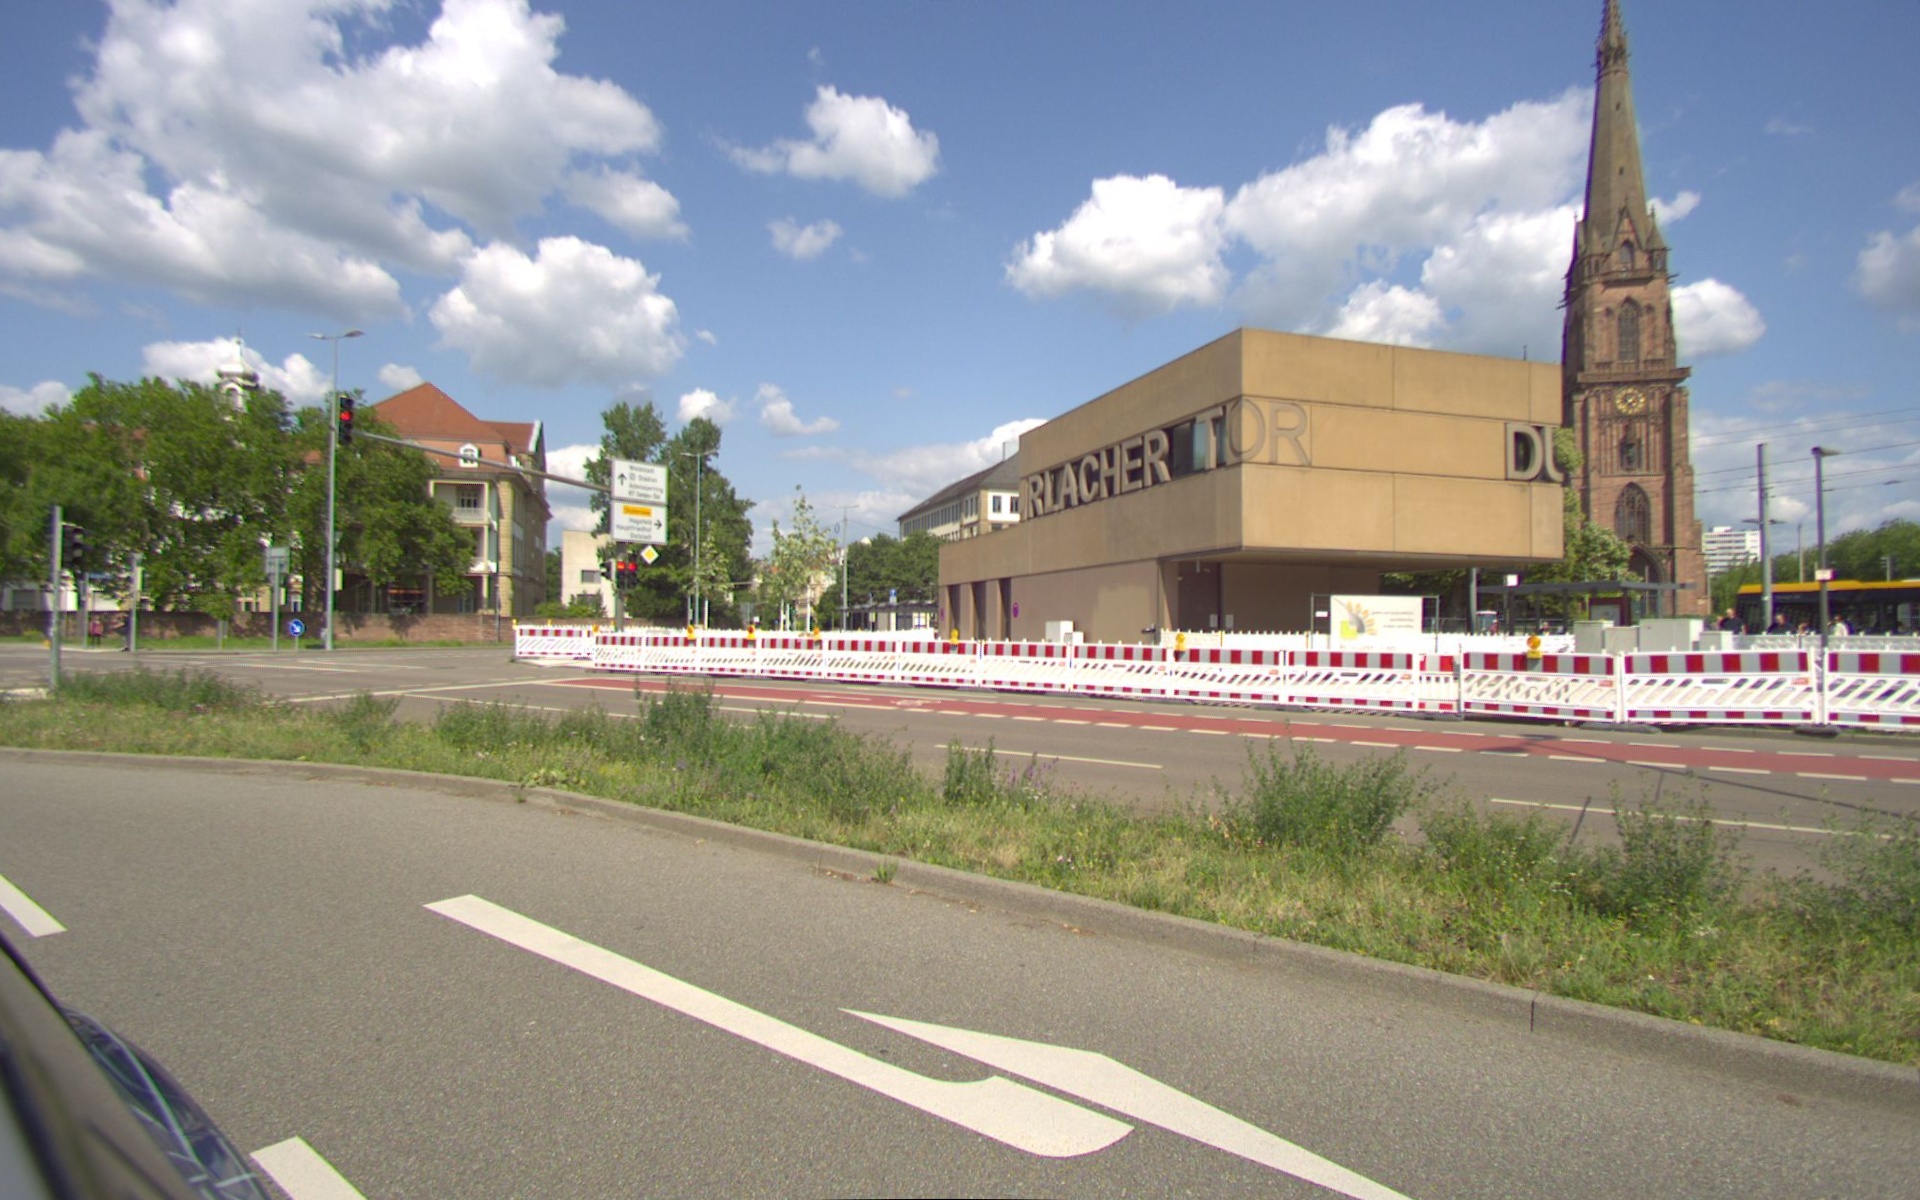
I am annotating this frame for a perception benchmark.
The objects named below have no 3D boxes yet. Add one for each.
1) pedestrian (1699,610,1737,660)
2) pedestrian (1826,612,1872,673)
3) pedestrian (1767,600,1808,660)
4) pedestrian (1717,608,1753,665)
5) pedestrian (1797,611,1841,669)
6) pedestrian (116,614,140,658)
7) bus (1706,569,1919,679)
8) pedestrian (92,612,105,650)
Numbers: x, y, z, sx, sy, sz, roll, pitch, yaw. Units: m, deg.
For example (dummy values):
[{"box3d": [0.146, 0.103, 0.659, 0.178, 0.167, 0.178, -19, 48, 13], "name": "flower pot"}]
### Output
[{"box3d": [25.082, 1.159, 33.476, 0.641, 1.644, 0.768, 1, -2, -23], "name": "pedestrian"}, {"box3d": [24.440, 1.156, 27.835, 0.752, 1.644, 0.655, 1, -2, -23], "name": "pedestrian"}, {"box3d": [22.969, 0.831, 28.103, 0.763, 1.644, 0.646, -1, -2, 30], "name": "pedestrian"}, {"box3d": [22.708, 1.065, 29.657, 0.720, 1.642, 0.561, 1, -2, -27], "name": "pedestrian"}, {"box3d": [24.787, 1.151, 29.203, 0.752, 1.644, 0.655, 1, -2, -22], "name": "pedestrian"}, {"box3d": [-38.366, 1.653, 46.672, 0.616, 2.009, 0.579, -1, 0, 13], "name": "pedestrian"}, {"box3d": [29.231, 0.695, 29.346, 2.785, 3.160, 12.880, 1, -2, -19], "name": "bus"}, {"box3d": [-40.083, 1.439, 47.089, 0.450, 1.745, 0.365, -1, 0, 37], "name": "pedestrian"}]
